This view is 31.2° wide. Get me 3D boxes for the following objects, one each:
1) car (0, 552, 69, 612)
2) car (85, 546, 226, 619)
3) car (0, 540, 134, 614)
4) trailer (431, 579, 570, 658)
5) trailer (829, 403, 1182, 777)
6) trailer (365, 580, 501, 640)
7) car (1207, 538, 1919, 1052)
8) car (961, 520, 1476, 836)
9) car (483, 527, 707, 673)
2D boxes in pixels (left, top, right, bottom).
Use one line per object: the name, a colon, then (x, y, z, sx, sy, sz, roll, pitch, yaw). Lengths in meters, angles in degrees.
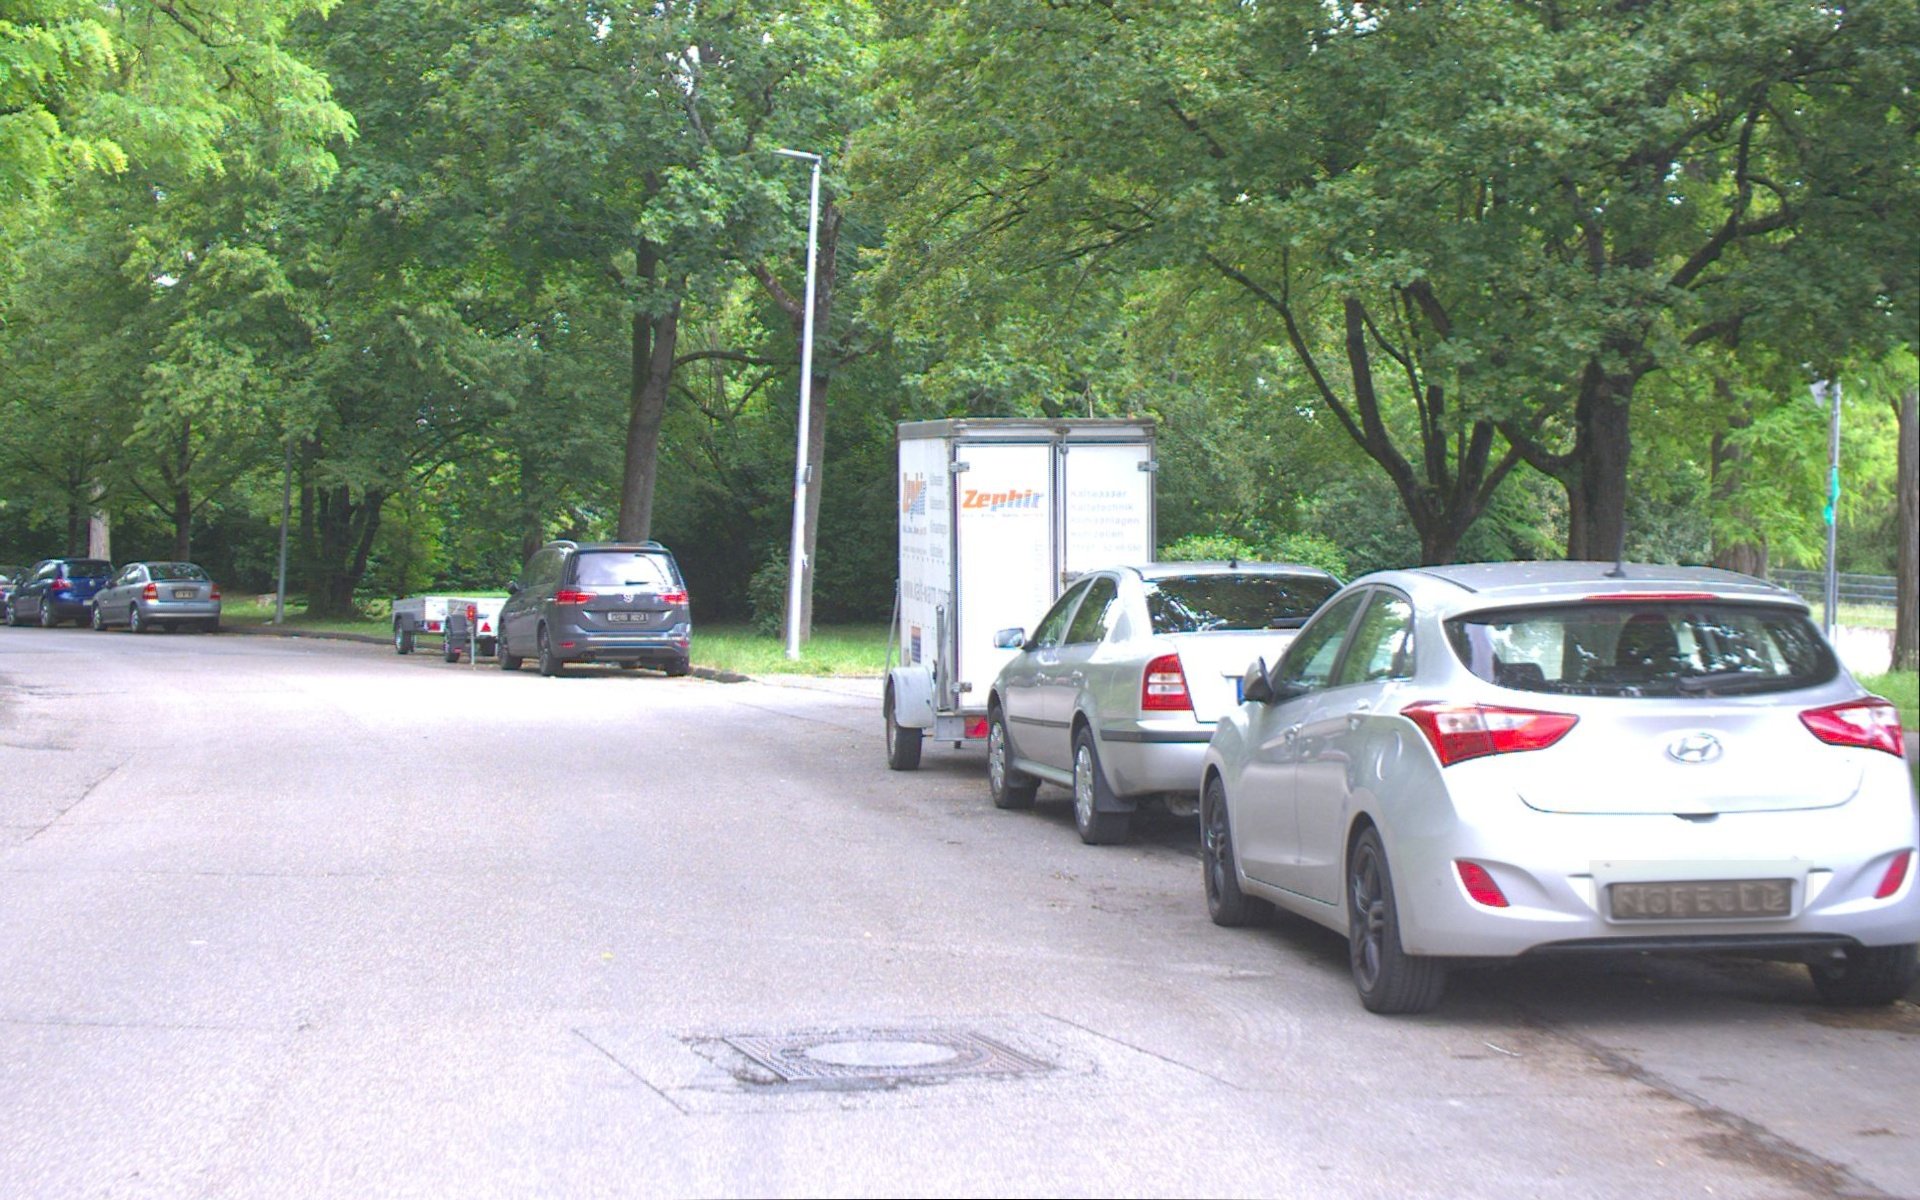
car: (-22.148, -0.414, 79.157, 1.750, 1.332, 4.415, 1, 0, -34)
car: (-16.261, -0.332, 69.371, 1.717, 1.427, 3.949, 0, 0, -30)
car: (-19.566, -0.488, 75.143, 1.714, 1.504, 4.181, 3, -2, -31)
trailer: (-6.552, 0.242, 48.729, 1.357, 0.965, 3.894, 3, 1, -16)
trailer: (0.232, -0.091, 24.293, 1.760, 2.418, 3.888, 0, 1, -10)
trailer: (-8.186, 0.170, 53.243, 1.363, 0.845, 3.279, 3, -1, -21)
car: (2.087, 0.571, 12.273, 1.902, 1.471, 4.059, 2, 0, -2)
car: (1.268, 0.355, 18.976, 1.741, 1.520, 4.637, 0, 1, -10)
car: (-4.619, -0.015, 42.933, 1.775, 1.657, 4.842, 2, 0, -18)
